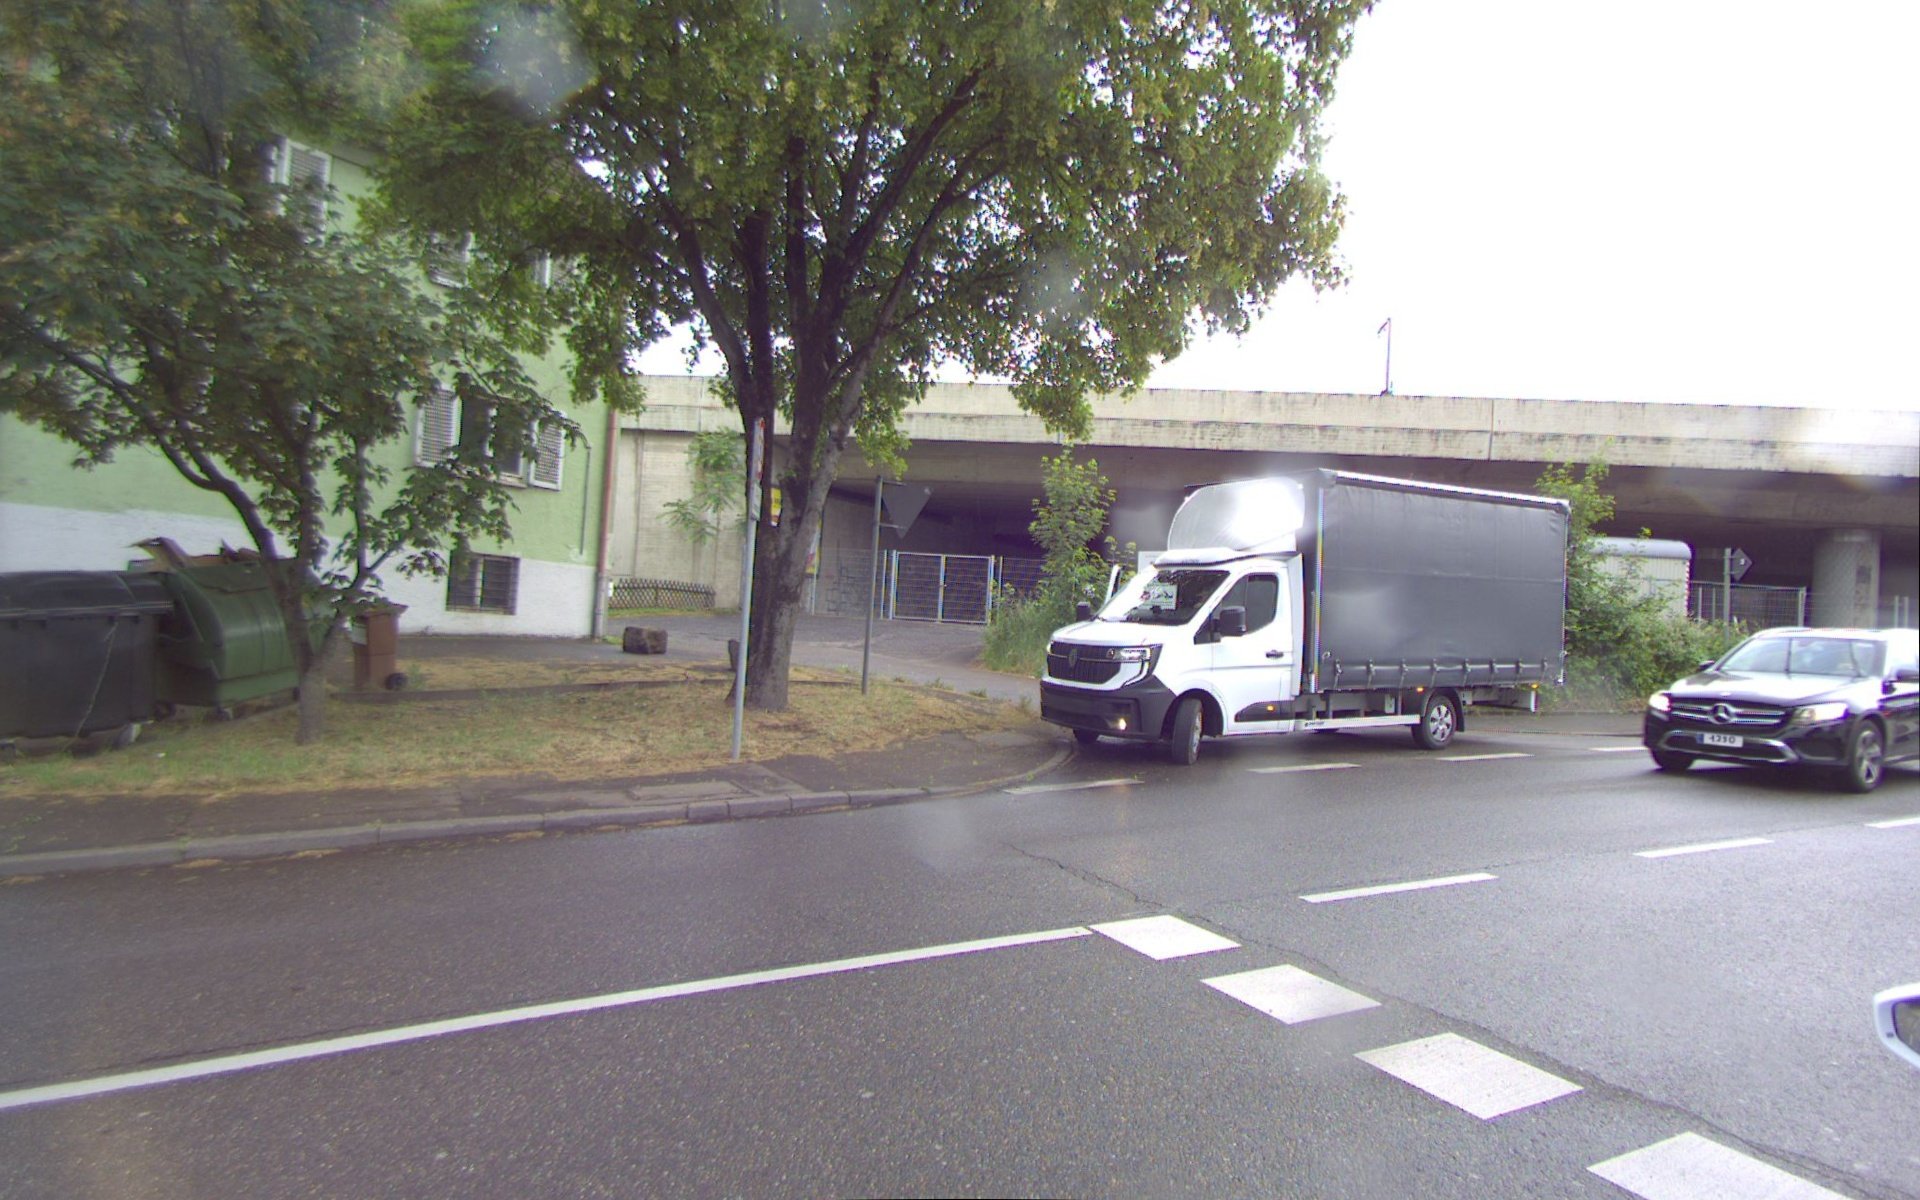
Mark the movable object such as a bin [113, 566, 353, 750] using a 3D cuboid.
[{"bbox_3d":[-6.746,0.472,9.418,1.078,1.457,1.463,5,5,13],"label":"movable object such as a bin"}]

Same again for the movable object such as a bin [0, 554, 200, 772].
[{"bbox_3d":[-7.314,0.419,8.054,1.268,1.457,1.463,5,5,13],"label":"movable object such as a bin"}]

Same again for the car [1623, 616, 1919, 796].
[{"bbox_3d":[9.625,1.060,11.210,4.381,1.648,1.906,2,-1,-29],"label":"car"}]

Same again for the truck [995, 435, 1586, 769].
[{"bbox_3d":[4.444,0.177,12.854,7.681,3.279,2.599,3,-1,-29],"label":"truck"}]

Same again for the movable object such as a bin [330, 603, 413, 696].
[{"bbox_3d":[-6.371,0.533,10.900,0.715,0.970,0.554,3,-1,-30],"label":"movable object such as a bin"}]
